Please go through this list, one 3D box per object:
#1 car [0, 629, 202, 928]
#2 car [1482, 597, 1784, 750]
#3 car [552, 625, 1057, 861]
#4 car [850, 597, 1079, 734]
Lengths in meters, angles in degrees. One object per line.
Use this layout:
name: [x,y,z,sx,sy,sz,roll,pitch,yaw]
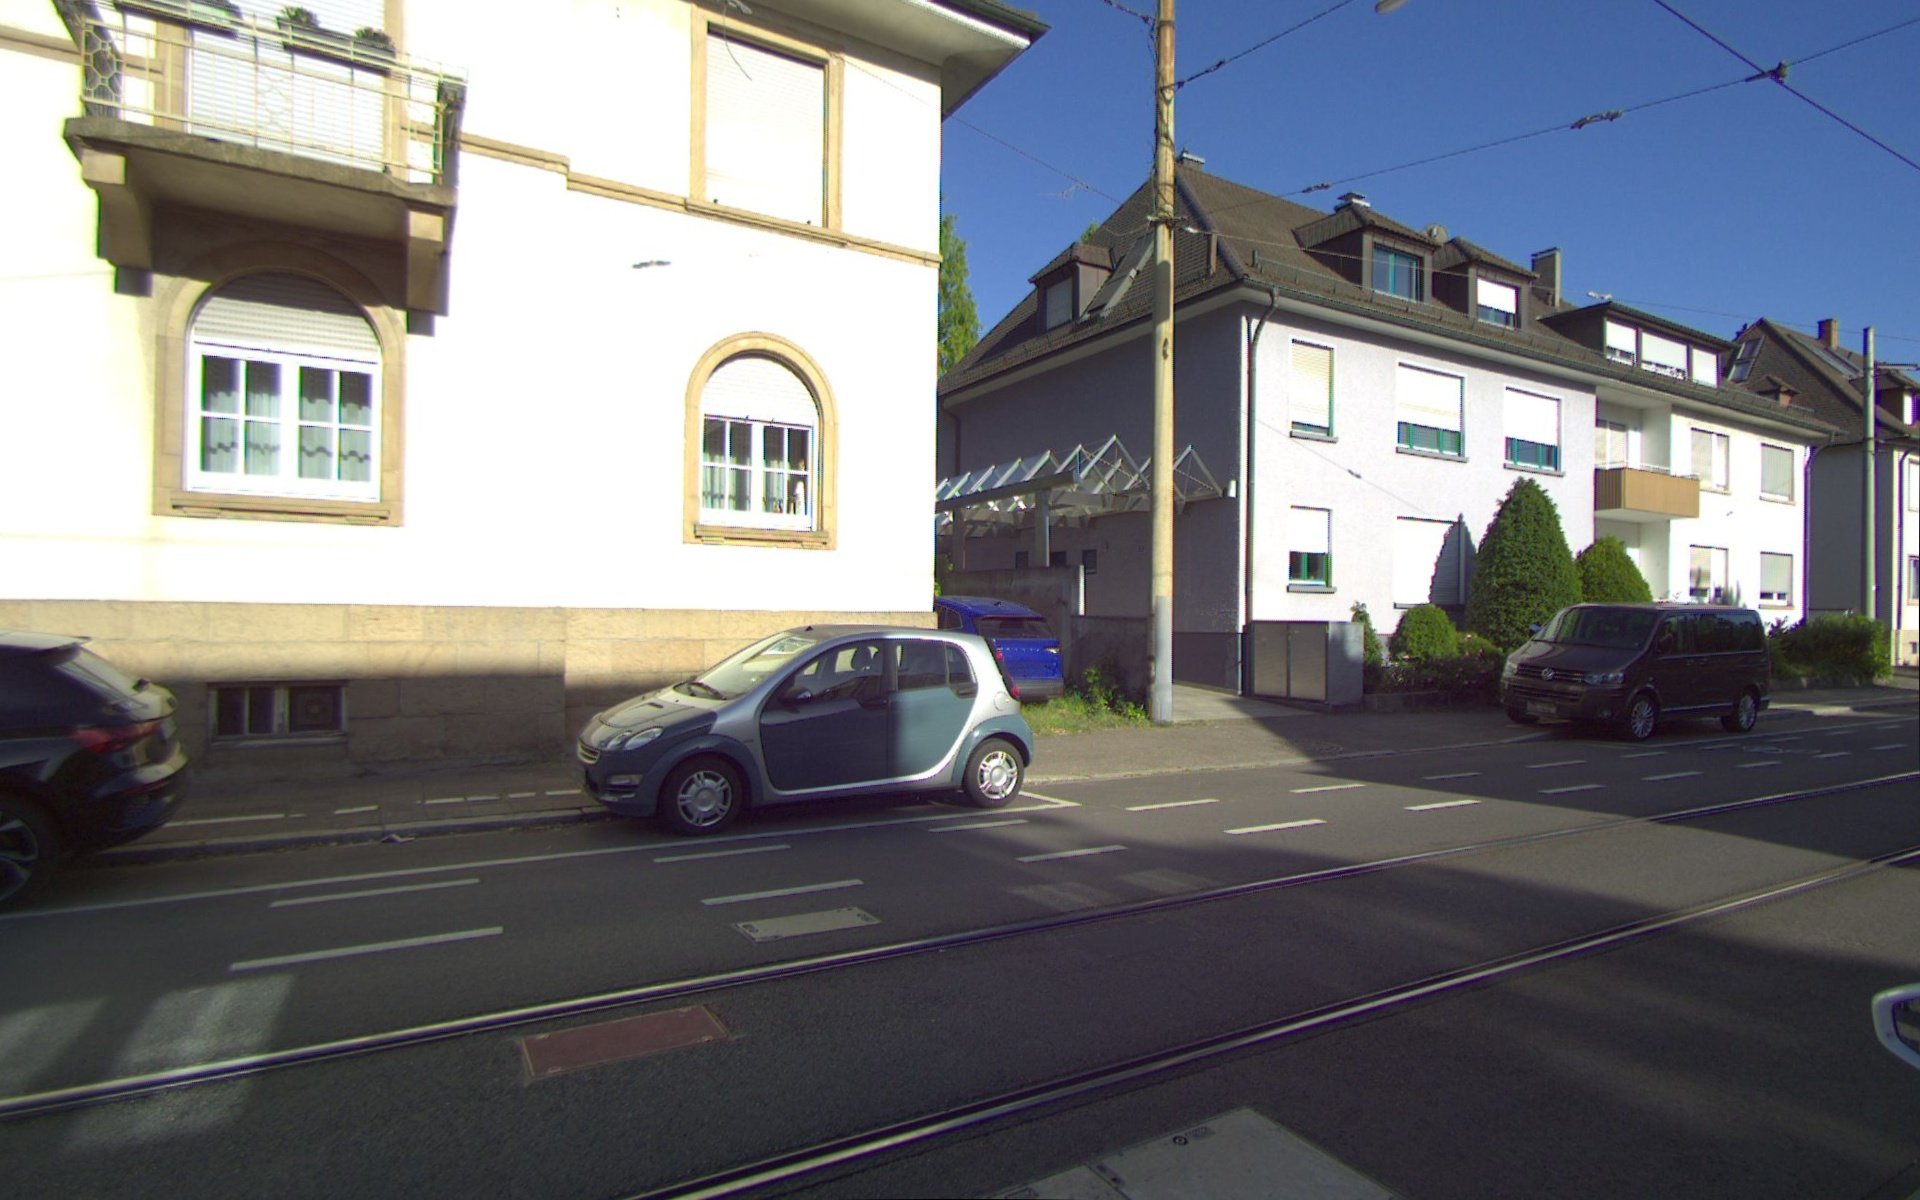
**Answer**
car: [-6.483,0.901,4.995,4.207,1.497,1.652,1,-1,-34]
car: [10.568,1.039,15.684,4.889,2.041,1.897,1,1,-29]
car: [-1.232,0.996,8.326,3.790,1.497,1.668,1,1,-30]
car: [-0.071,0.914,15.359,1.735,1.807,3.905,1,-1,-31]
